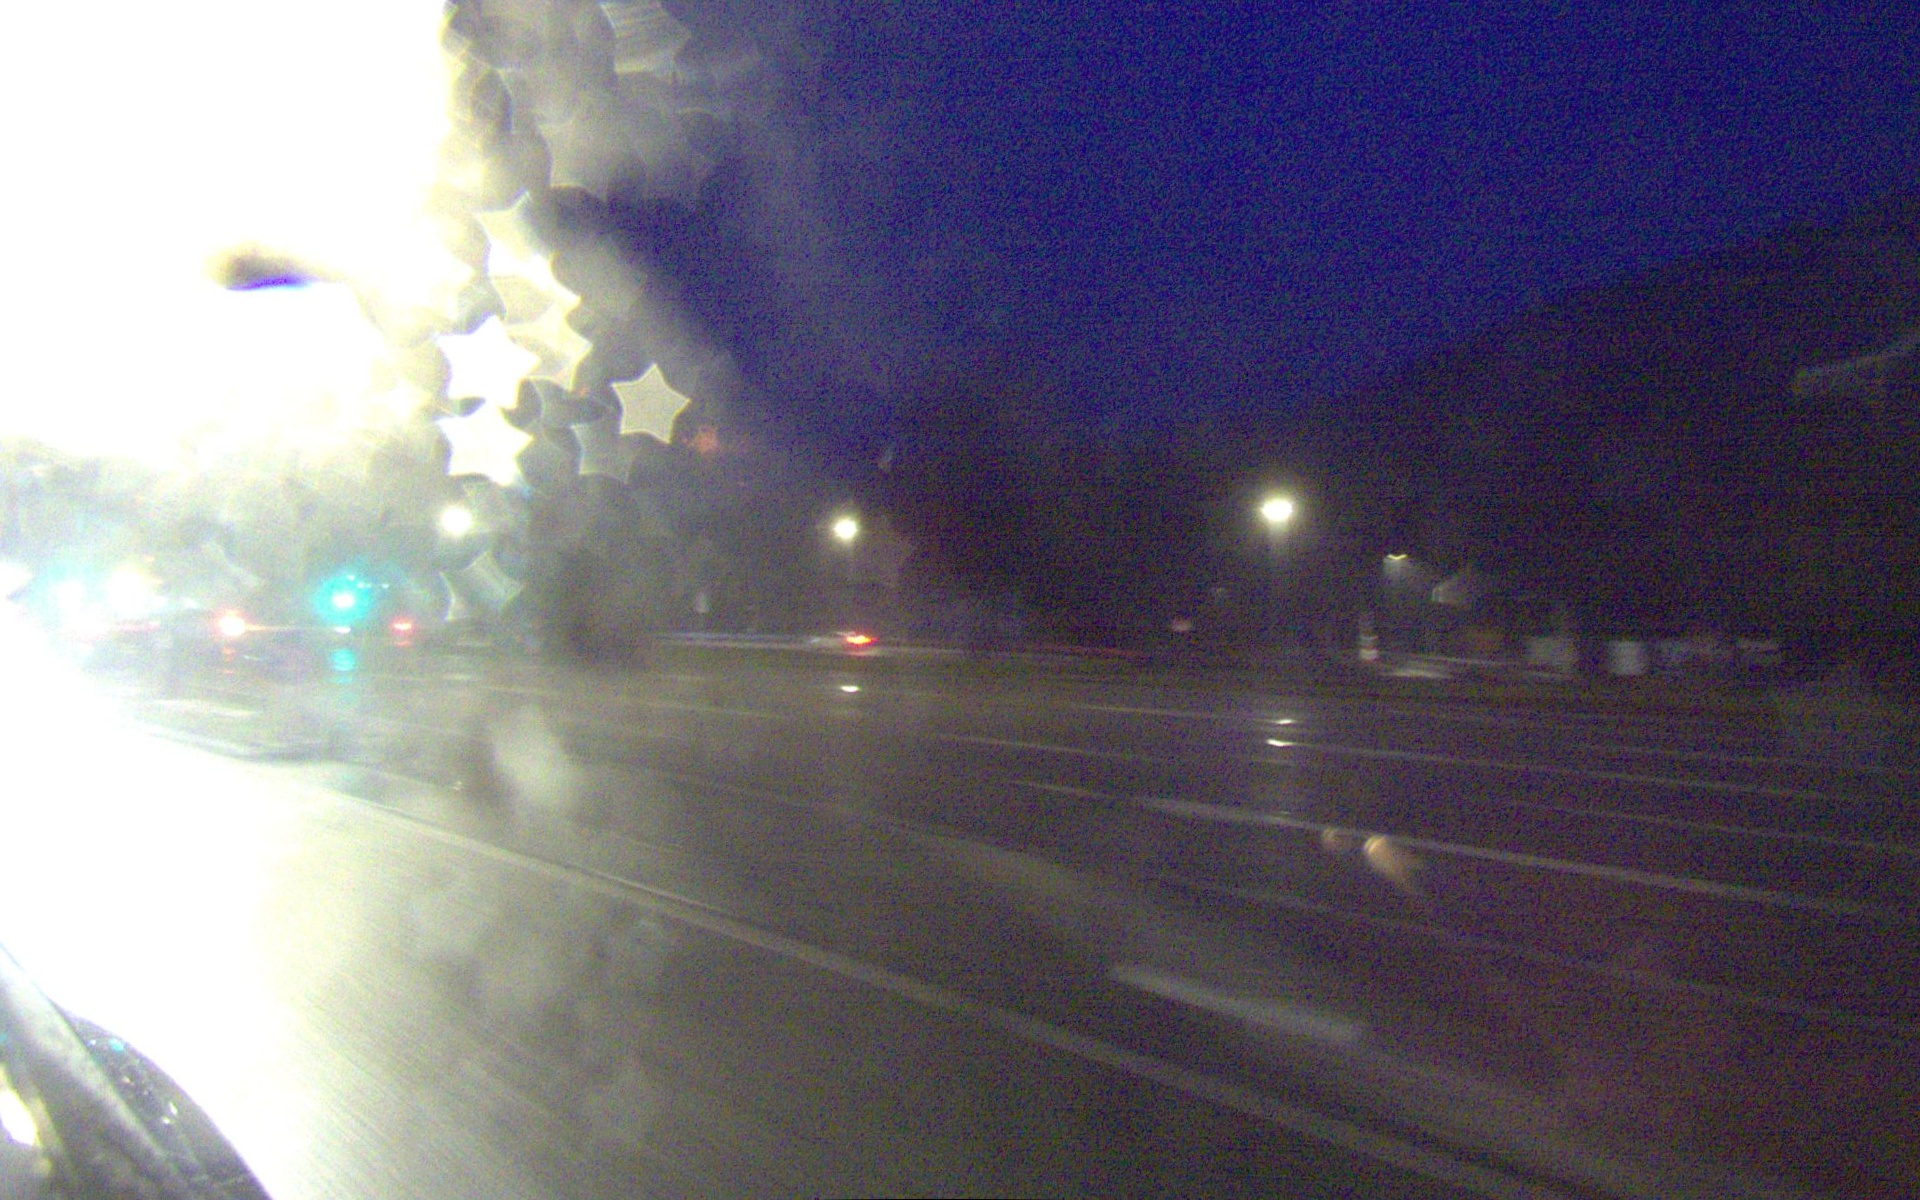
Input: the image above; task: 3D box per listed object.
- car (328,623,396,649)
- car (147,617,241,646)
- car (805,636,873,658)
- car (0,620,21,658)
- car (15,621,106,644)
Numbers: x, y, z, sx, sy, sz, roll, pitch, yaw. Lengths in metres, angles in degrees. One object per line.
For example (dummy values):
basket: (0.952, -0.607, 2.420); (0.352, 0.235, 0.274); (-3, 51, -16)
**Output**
car: (-43.380, 2.594, 73.488); (4.030, 1.796, 2.007); (1, 0, -24)
car: (-53.029, 2.186, 70.175); (4.839, 1.954, 2.007); (1, 0, -22)
car: (-8.643, 3.345, 72.319); (4.534, 1.408, 1.981); (1, 0, 29)
car: (-42.455, 1.653, 43.864); (4.590, 1.545, 1.693); (1, 0, 35)
car: (-60.707, 2.160, 68.368); (4.068, 1.460, 2.186); (1, 0, -11)
